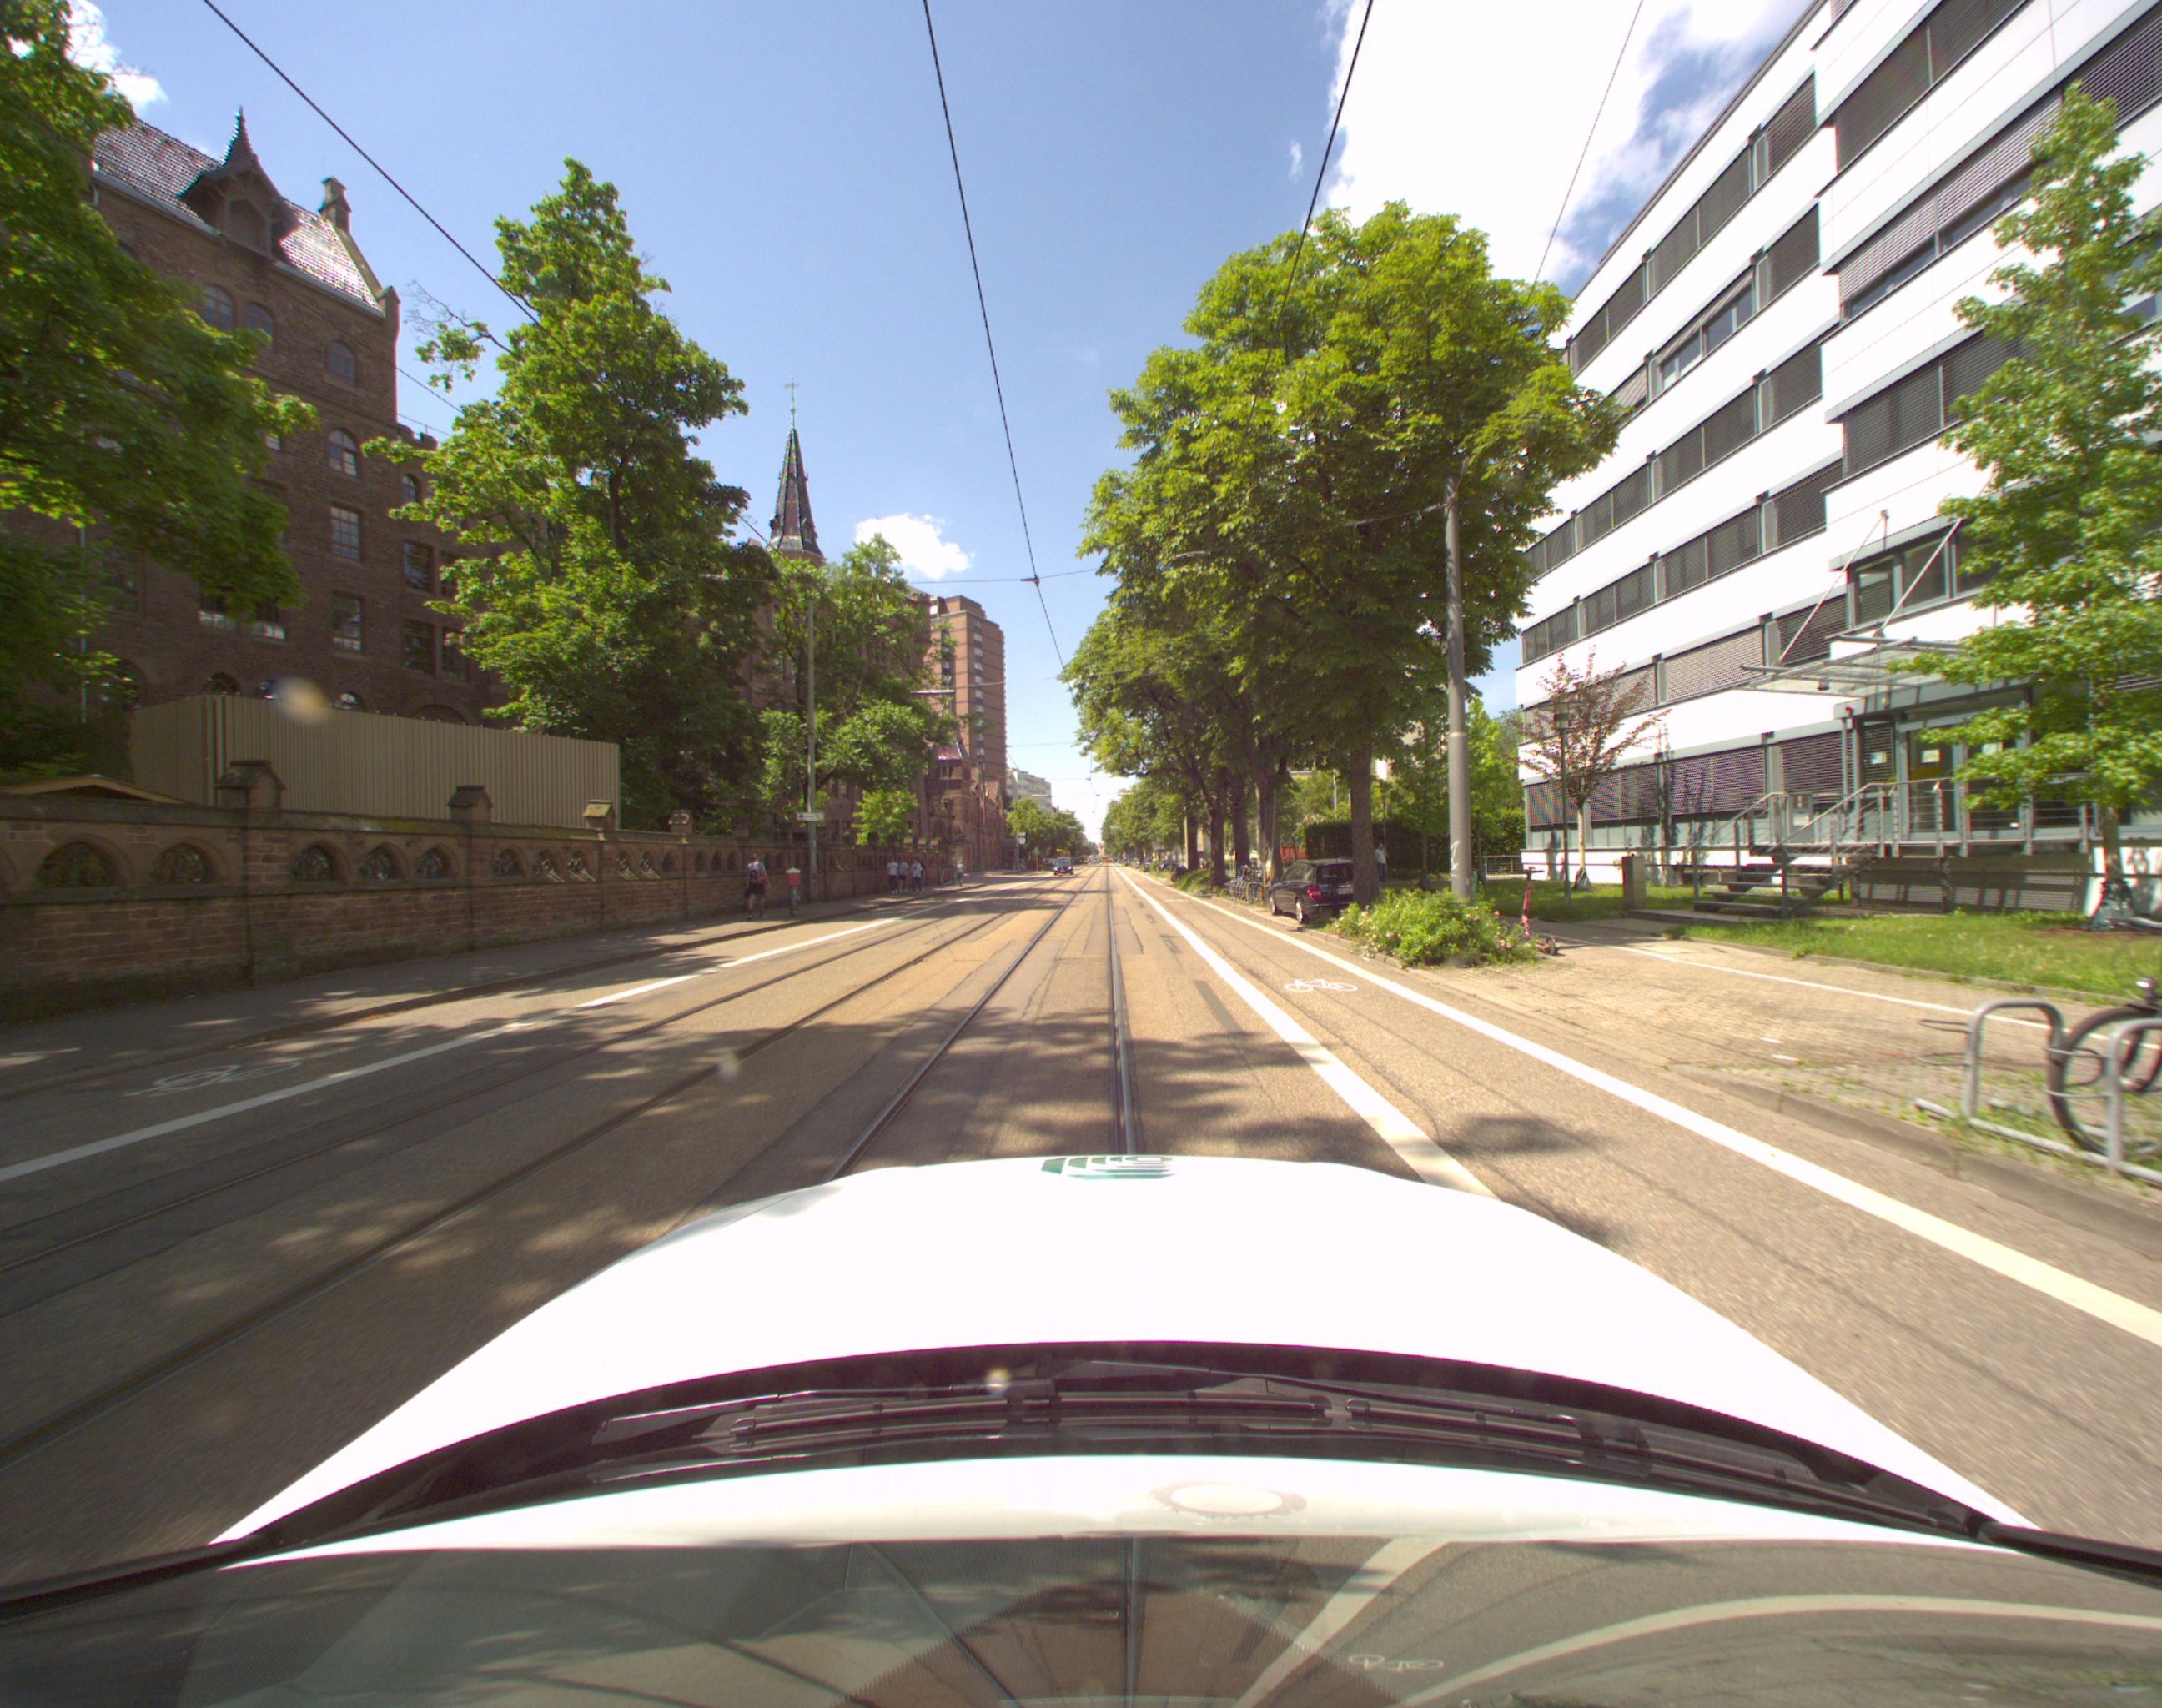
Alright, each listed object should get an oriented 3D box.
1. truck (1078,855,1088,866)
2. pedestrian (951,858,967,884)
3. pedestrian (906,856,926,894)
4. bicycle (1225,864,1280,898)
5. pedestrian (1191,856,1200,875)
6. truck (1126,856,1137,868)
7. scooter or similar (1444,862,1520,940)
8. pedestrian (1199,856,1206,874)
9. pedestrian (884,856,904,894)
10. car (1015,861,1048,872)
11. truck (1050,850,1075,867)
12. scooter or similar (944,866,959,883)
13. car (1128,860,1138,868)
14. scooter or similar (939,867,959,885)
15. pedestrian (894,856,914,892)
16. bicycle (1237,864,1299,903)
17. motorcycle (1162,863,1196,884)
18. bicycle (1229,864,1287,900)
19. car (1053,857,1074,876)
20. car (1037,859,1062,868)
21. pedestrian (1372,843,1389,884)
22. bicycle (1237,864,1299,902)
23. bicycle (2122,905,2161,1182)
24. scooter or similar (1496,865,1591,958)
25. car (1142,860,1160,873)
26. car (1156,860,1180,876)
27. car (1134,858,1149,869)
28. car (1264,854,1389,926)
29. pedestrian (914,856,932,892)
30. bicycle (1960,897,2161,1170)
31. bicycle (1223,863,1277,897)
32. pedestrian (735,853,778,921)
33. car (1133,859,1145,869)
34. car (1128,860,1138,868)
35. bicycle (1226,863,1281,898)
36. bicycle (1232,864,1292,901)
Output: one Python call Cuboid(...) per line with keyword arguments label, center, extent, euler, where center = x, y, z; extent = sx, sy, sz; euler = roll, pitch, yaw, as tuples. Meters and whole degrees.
Cuboid(label="truck", center=(0.735, 1.948, 242.145), extent=(2.350, 2.852, 7.384), euler=(-3, -1, 4))
Cuboid(label="pedestrian", center=(-7.664, 1.066, 51.251), extent=(0.796, 1.589, 0.920), euler=(1, -1, 1))
Cuboid(label="pedestrian", center=(-7.892, 0.992, 39.013), extent=(0.674, 1.790, 0.920), euler=(1, -1, 2))
Cuboid(label="bicycle", center=(6.028, 0.932, 28.692), extent=(1.803, 1.111, 0.395), euler=(-3, -1, -2))
Cuboid(label="pedestrian", center=(10.008, 0.983, 71.042), extent=(0.616, 1.573, 0.611), euler=(-3, -1, 2))
Cuboid(label="truck", center=(10.920, 1.636, 175.499), extent=(2.007, 2.489, 5.957), euler=(-2, -1, 1))
Cuboid(label="scooter or similar", center=(6.642, 0.746, 13.561), extent=(0.537, 1.208, 1.385), euler=(-3, -1, 1))
Cuboid(label="pedestrian", center=(10.585, 0.939, 71.003), extent=(0.511, 1.573, 0.545), euler=(-3, -1, 2))
Cuboid(label="pedestrian", center=(-8.903, 0.982, 38.742), extent=(0.674, 1.776, 0.920), euler=(1, -1, 2))
Cuboid(label="car", center=(-7.682, 1.926, 126.906), extent=(4.790, 1.566, 1.984), euler=(-1, -1, -27))
Cuboid(label="truck", center=(-4.211, 1.168, 188.903), extent=(2.694, 3.842, 11.009), euler=(-1, -1, 16))
Cuboid(label="scooter or similar", center=(-8.716, 1.384, 54.795), extent=(0.325, 1.127, 1.230), euler=(-1, -1, 30))
Cuboid(label="car", center=(10.552, 1.984, 164.954), extent=(1.816, 1.471, 4.405), euler=(-2, -1, 4))
Cuboid(label="scooter or similar", center=(-8.301, 1.370, 51.331), extent=(1.232, 1.127, 0.344), euler=(2, -2, -45))
Cuboid(label="pedestrian", center=(-8.835, 0.992, 40.650), extent=(0.749, 1.776, 0.920), euler=(1, -1, 1))
Cuboid(label="bicycle", center=(5.844, 0.908, 25.492), extent=(1.803, 1.111, 0.514), euler=(-3, -1, -2))
Cuboid(label="motorcycle", center=(5.942, 1.213, 49.596), extent=(2.035, 1.213, 0.617), euler=(-3, -2, 41))
Cuboid(label="bicycle", center=(5.962, 0.923, 27.420), extent=(1.809, 1.111, 0.488), euler=(-2, -1, -12))
Cuboid(label="car", center=(-1.723, 1.205, 81.827), extent=(1.897, 1.788, 4.257), euler=(-2, -1, 2))
Cuboid(label="car", center=(-6.167, 1.854, 159.643), extent=(4.563, 1.791, 1.882), euler=(0, -1, -31))
Cuboid(label="pedestrian", center=(13.072, 0.420, 35.568), extent=(0.621, 1.748, 0.660), euler=(-3, -1, 20))
Cuboid(label="bicycle", center=(5.996, 0.918, 26.142), extent=(1.806, 1.111, 0.534), euler=(-2, -1, -8))
Cuboid(label="bicycle", center=(5.257, 0.764, 3.146), extent=(1.803, 1.111, 0.569), euler=(0, -1, -2))
Cuboid(label="scooter or similar", center=(6.598, 0.787, 11.684), extent=(0.537, 1.208, 1.385), euler=(-3, -1, 1))
Cuboid(label="car", center=(7.816, 1.363, 90.880), extent=(1.665, 1.408, 4.749), euler=(-2, -1, 1))
Cuboid(label="car", center=(7.341, 1.182, 68.747), extent=(1.744, 1.270, 3.835), euler=(0, 0, 2))
Cuboid(label="car", center=(8.997, 1.409, 121.233), extent=(1.666, 1.499, 4.363), euler=(-2, -1, -1))
Cuboid(label="car", center=(5.774, 0.785, 19.773), extent=(1.670, 1.467, 4.635), euler=(-3, 0, 1))
Cuboid(label="pedestrian", center=(-7.896, 0.999, 40.702), extent=(0.674, 1.748, 0.920), euler=(1, -1, 2))
Cuboid(label="bicycle", center=(5.238, 0.768, 3.742), extent=(1.836, 1.111, 0.569), euler=(0, -1, -2))
Cuboid(label="bicycle", center=(6.030, 0.935, 29.123), extent=(1.803, 1.111, 0.449), euler=(-3, -1, -2))
Cuboid(label="pedestrian", center=(-8.843, 0.879, 22.229), extent=(0.719, 1.792, 0.920), euler=(1, -1, 1))
Cuboid(label="car", center=(9.557, 1.653, 134.023), extent=(1.665, 1.517, 4.202), euler=(-2, -1, 1))
Cuboid(label="car", center=(9.783, 1.892, 154.064), extent=(1.817, 1.471, 4.490), euler=(-2, -1, 3))
Cuboid(label="bicycle", center=(5.988, 0.924, 28.293), extent=(1.803, 1.111, 0.395), euler=(-3, -1, -2))
Cuboid(label="bicycle", center=(5.945, 0.928, 26.762), extent=(1.806, 1.111, 0.532), euler=(-2, -1, -8))
